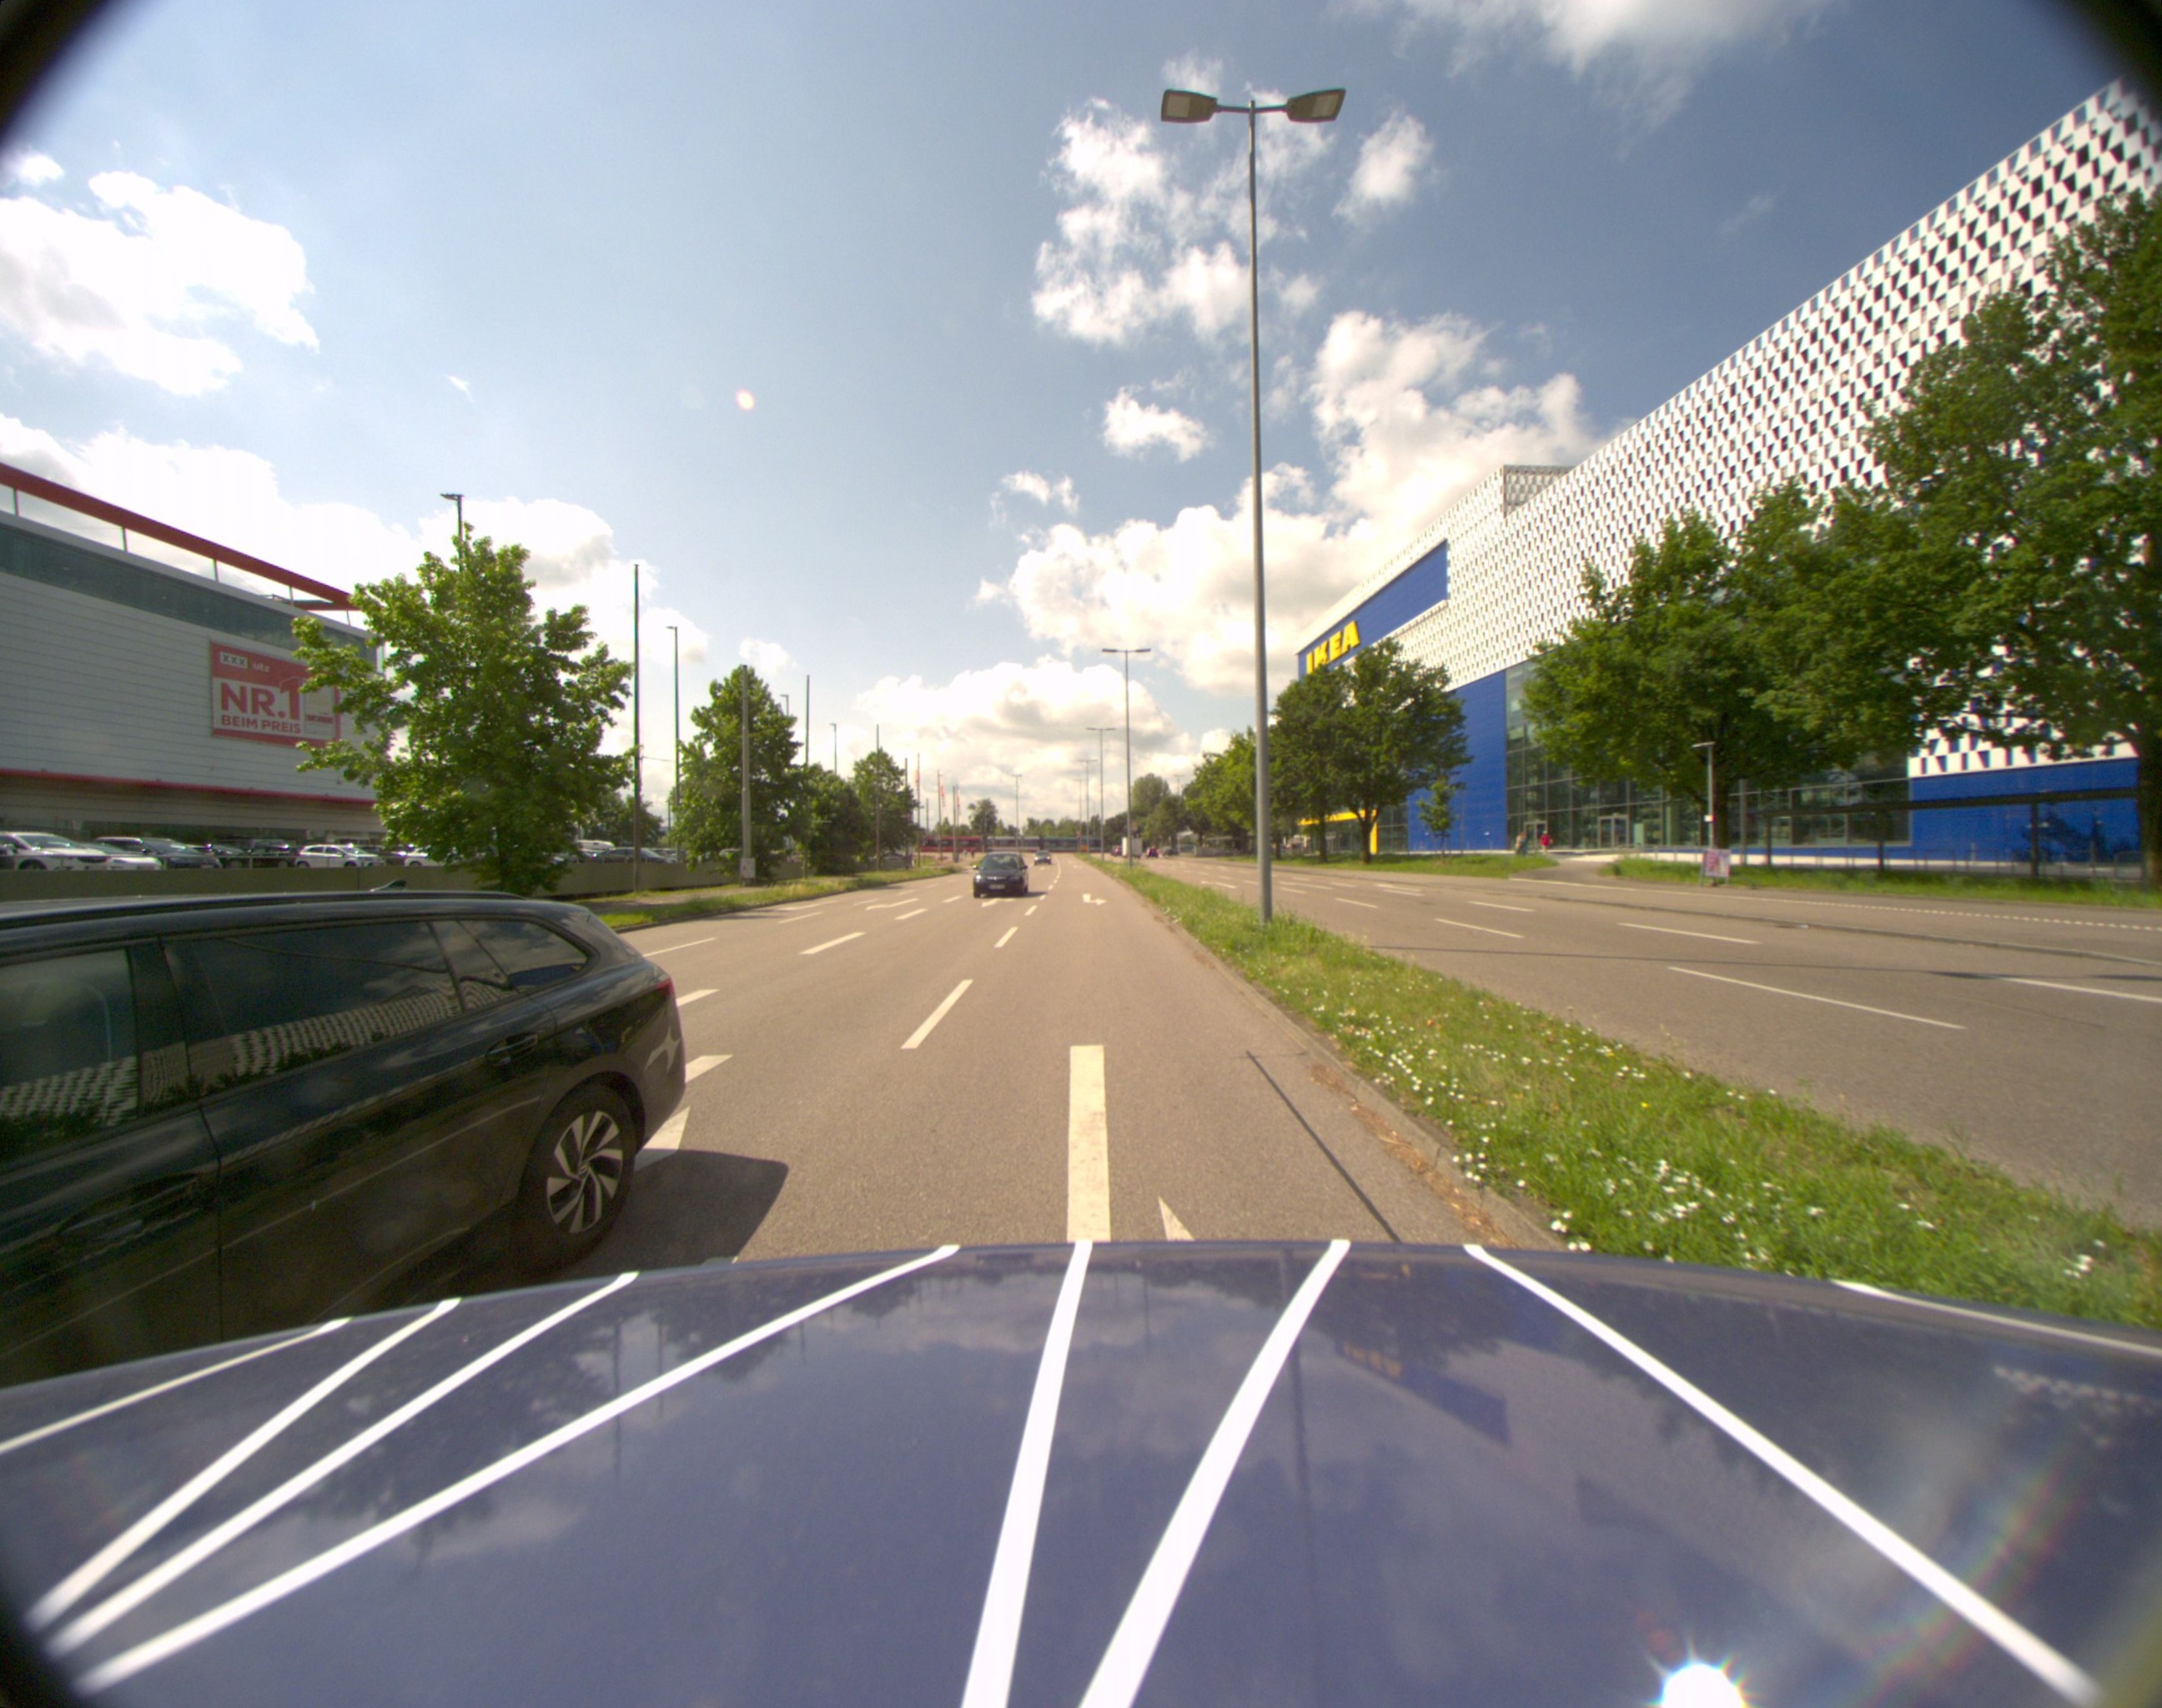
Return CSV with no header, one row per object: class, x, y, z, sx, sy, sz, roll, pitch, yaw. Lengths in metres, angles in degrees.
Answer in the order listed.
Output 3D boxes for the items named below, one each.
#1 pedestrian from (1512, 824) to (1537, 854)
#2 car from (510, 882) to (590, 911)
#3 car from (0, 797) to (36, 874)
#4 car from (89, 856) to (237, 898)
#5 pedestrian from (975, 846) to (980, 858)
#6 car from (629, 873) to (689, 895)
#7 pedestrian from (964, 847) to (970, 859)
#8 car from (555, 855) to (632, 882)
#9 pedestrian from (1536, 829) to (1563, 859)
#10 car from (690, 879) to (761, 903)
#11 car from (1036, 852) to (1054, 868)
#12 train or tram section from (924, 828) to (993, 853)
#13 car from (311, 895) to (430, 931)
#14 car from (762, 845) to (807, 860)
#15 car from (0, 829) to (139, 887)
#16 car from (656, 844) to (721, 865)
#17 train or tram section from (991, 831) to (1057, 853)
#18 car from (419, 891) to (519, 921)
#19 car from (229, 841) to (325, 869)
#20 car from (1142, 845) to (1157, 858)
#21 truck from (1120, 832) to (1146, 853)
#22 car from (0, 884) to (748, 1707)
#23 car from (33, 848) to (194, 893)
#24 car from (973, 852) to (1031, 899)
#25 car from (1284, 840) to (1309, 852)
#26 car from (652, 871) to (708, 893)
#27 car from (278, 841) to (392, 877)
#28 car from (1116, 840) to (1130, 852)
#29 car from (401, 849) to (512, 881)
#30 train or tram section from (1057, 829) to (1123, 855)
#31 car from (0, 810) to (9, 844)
pedestrian,26.382,-0.897,45.227,0.854,1.718,1.164,-2,2,3
car,-37.704,3.015,54.011,4.421,1.754,1.559,-2,2,-3
car,-34.954,-0.442,22.239,5.796,2.270,1.748,-2,2,-3
car,-39.188,0.970,32.489,4.417,1.596,1.956,-1,1,8
pedestrian,-15.026,-0.269,110.697,0.527,1.803,0.676,-3,2,-16
car,-37.971,2.692,68.384,4.421,1.754,1.559,-2,2,-3
pedestrian,-16.523,-0.165,110.371,0.705,1.803,0.544,-3,2,-21
car,-33.231,0.972,51.846,3.996,1.595,1.778,-2,2,2
pedestrian,27.719,-0.591,44.978,0.854,1.718,1.164,-2,2,3
car,-27.045,2.805,57.844,4.420,1.596,1.954,-2,1,-1
car,-3.658,0.603,78.390,1.606,1.521,4.269,-1,0,0
train or tram section,-24.521,-2.695,152.925,13.098,4.535,3.730,-2,2,-2
car,-37.141,3.055,39.778,4.419,1.596,1.955,-2,1,3
car,-34.526,-0.213,88.495,4.420,1.596,1.954,-2,1,-1
car,-34.442,0.130,25.271,3.997,1.784,1.749,-2,2,1
car,-33.614,0.019,65.146,4.420,1.596,1.954,-2,1,-1
train or tram section,-11.398,-2.437,153.423,13.099,4.346,3.730,0,2,-2
car,-37.575,3.173,46.735,4.421,1.596,1.954,-2,1,-2
car,-49.513,0.036,46.805,4.416,1.596,1.956,-1,1,11
car,9.941,-0.402,110.427,1.941,1.674,3.999,-2,1,1
truck,7.060,-1.578,104.155,2.972,2.736,5.782,-2,1,-2
car,-2.785,0.959,1.612,1.813,1.469,5.203,-2,1,0
car,-38.532,0.635,30.323,4.417,1.596,1.956,-1,1,8
car,-2.703,0.690,26.805,1.606,1.521,4.269,-1,0,0
car,40.208,-1.523,141.644,3.998,2.002,1.999,-2,2,-2
car,-38.136,2.650,72.292,4.421,1.754,1.559,-2,2,-3
car,-40.886,0.262,41.711,4.421,1.754,1.559,-2,2,-3
car,6.535,-1.298,118.124,1.941,1.674,3.999,-2,1,1
car,-34.313,0.586,41.858,4.420,1.596,1.954,-2,1,-1
train or tram section,1.689,-2.486,153.937,13.098,4.646,3.730,-2,2,-2
car,-53.356,-1.217,35.692,4.415,1.596,1.957,-1,1,14
